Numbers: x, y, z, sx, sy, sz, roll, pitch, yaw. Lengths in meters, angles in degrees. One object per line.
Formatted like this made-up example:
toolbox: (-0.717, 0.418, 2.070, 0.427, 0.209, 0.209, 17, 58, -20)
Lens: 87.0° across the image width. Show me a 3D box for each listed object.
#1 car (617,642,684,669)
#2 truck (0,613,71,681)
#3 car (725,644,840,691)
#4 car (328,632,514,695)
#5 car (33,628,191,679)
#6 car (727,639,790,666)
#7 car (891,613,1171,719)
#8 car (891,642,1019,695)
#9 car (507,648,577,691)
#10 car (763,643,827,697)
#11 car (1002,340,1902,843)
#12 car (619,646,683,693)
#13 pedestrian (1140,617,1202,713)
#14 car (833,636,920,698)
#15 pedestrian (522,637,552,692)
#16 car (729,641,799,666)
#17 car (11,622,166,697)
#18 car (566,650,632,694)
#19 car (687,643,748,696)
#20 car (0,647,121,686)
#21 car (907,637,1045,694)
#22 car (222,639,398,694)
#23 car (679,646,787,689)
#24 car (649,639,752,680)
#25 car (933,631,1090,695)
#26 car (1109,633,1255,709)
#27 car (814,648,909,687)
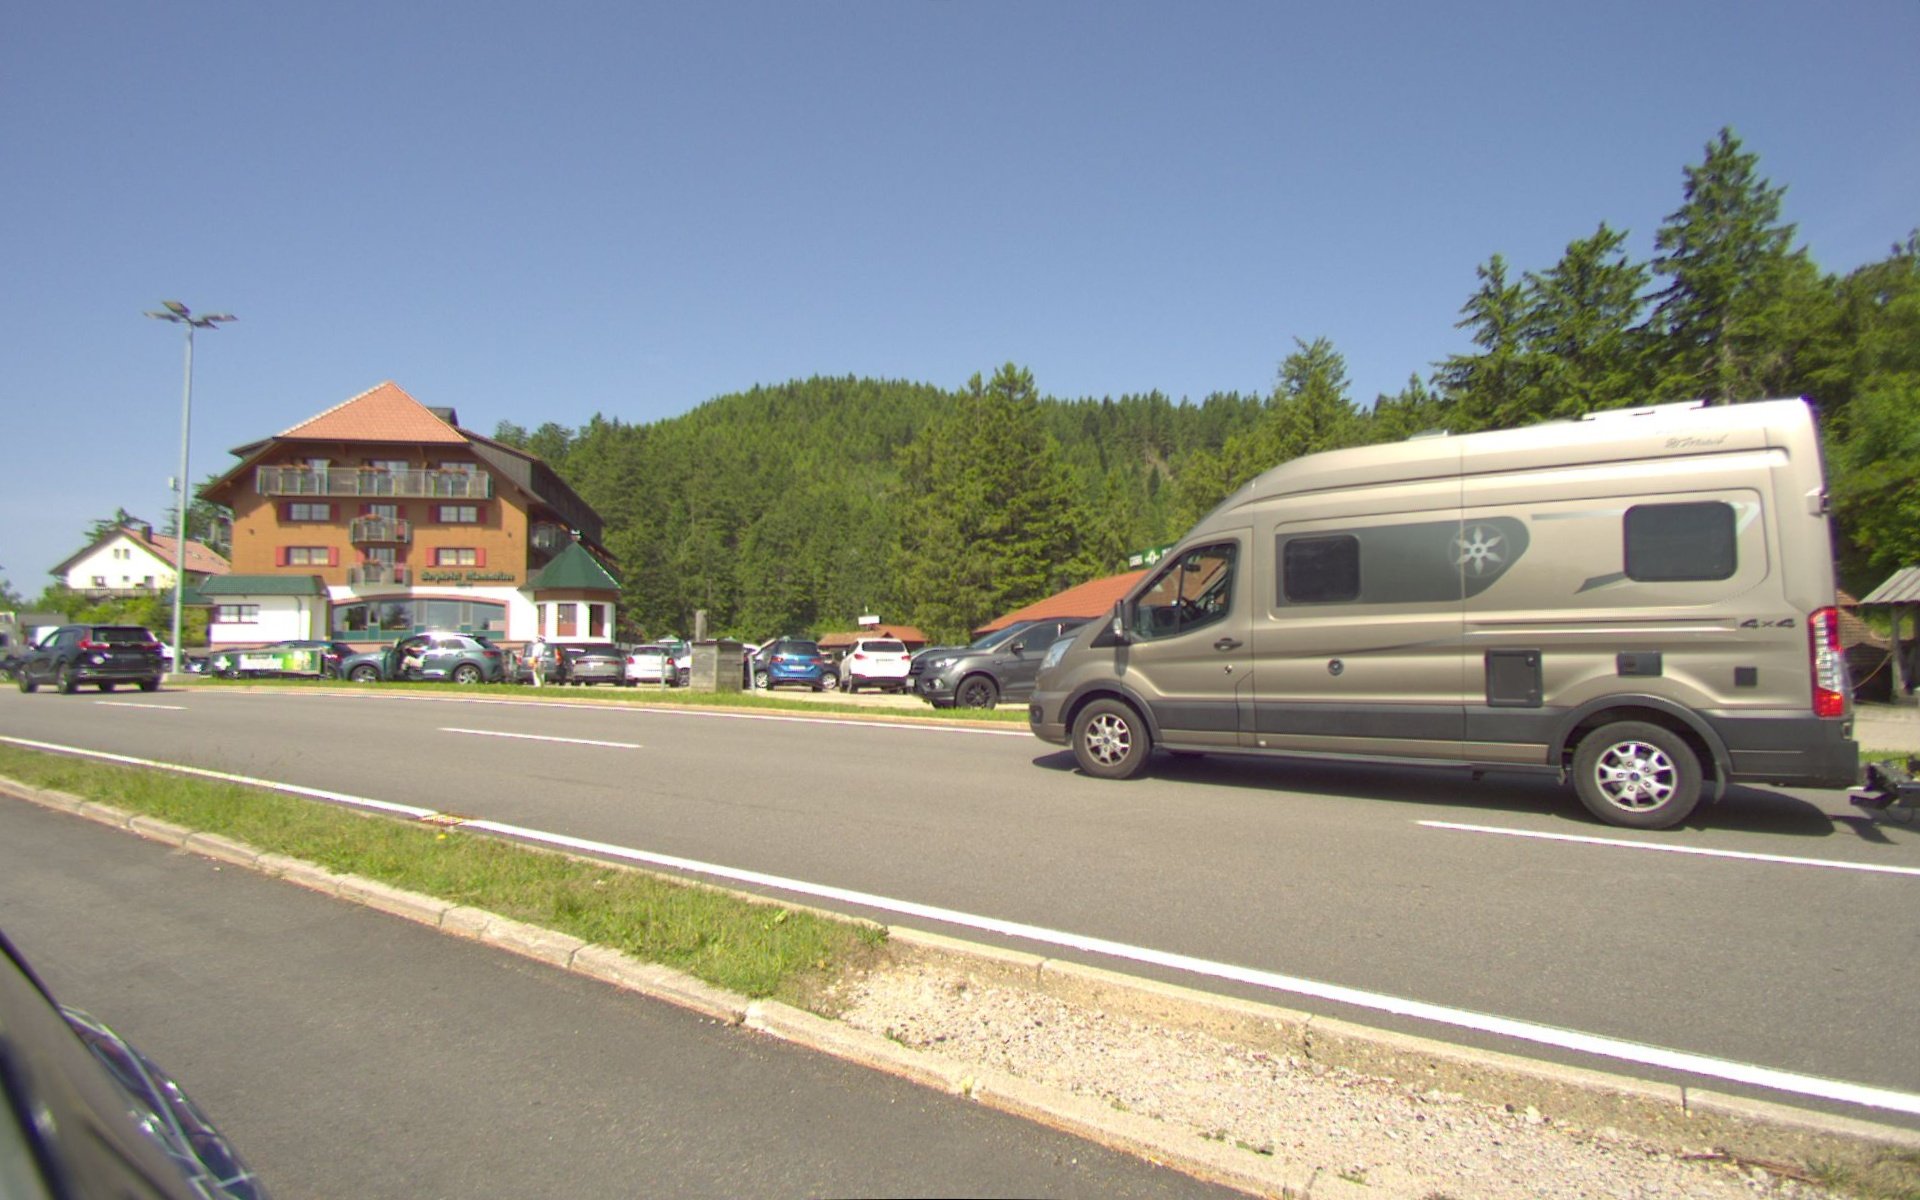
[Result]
car: (-19.967, 3.590, 65.393, 4.026, 1.729, 1.925, 1, -3, -14)
truck: (-56.963, 2.874, 60.461, 2.834, 3.850, 9.045, -1, -2, -21)
car: (-6.581, 2.486, 37.417, 4.025, 1.641, 1.829, 1, -3, -15)
car: (-14.787, 1.757, 28.008, 4.199, 1.641, 1.829, 1, -3, -15)
car: (-49.234, 3.093, 58.965, 6.855, 2.812, 2.671, 2, -3, -40)
car: (-13.518, 3.516, 67.973, 4.026, 1.729, 1.925, 1, -3, -14)
car: (1.196, 1.129, 17.443, 4.474, 1.669, 1.727, 1, -3, -17)
car: (-0.194, 2.332, 34.843, 4.024, 1.729, 1.926, 1, -3, -17)
car: (-15.729, 2.602, 38.267, 1.794, 1.524, 4.105, 1, -3, -13)
car: (-5.410, 2.226, 32.830, 1.794, 1.641, 4.105, 1, -3, -13)
car: (3.329, 0.054, 8.137, 5.906, 2.772, 1.993, -2, -3, 37)
car: (-10.590, 2.348, 34.866, 1.794, 1.524, 4.105, 1, -3, -13)
pedestrian: (3.735, 1.146, 17.944, 0.733, 1.648, 0.849, 1, -3, -18)
car: (-2.578, 1.979, 30.358, 1.888, 1.729, 4.106, 1, -3, -15)
pedestrian: (-12.858, 1.943, 30.762, 0.733, 1.637, 0.685, 1, -3, -28)
car: (-13.960, 3.818, 72.065, 4.764, 1.729, 1.925, 1, -3, -14)
car: (-21.320, 1.431, 24.730, 4.116, 1.695, 1.703, -2, -3, 32)
car: (-13.174, 2.607, 37.133, 1.794, 1.524, 4.105, 1, -3, -13)
car: (-8.009, 2.254, 33.523, 1.794, 1.641, 4.105, 1, -3, -13)
car: (-37.631, 2.734, 41.901, 4.024, 1.539, 1.830, 1, -3, -19)
car: (0.499, 2.083, 32.340, 4.026, 1.729, 1.925, 1, -3, -14)
car: (-20.129, 2.068, 31.539, 4.199, 1.641, 1.829, 1, -3, -15)
car: (-8.881, 2.627, 39.536, 4.025, 1.641, 1.829, 1, -3, -15)
car: (-10.746, 2.483, 41.969, 4.025, 1.641, 1.829, 1, -3, -15)
car: (1.418, 1.781, 28.635, 4.026, 1.729, 1.925, 1, -3, -14)
car: (5.398, 1.727, 25.237, 1.888, 1.729, 4.106, 1, -3, -15)
car: (-4.553, 3.102, 46.769, 4.024, 1.729, 1.926, 1, -3, -17)
